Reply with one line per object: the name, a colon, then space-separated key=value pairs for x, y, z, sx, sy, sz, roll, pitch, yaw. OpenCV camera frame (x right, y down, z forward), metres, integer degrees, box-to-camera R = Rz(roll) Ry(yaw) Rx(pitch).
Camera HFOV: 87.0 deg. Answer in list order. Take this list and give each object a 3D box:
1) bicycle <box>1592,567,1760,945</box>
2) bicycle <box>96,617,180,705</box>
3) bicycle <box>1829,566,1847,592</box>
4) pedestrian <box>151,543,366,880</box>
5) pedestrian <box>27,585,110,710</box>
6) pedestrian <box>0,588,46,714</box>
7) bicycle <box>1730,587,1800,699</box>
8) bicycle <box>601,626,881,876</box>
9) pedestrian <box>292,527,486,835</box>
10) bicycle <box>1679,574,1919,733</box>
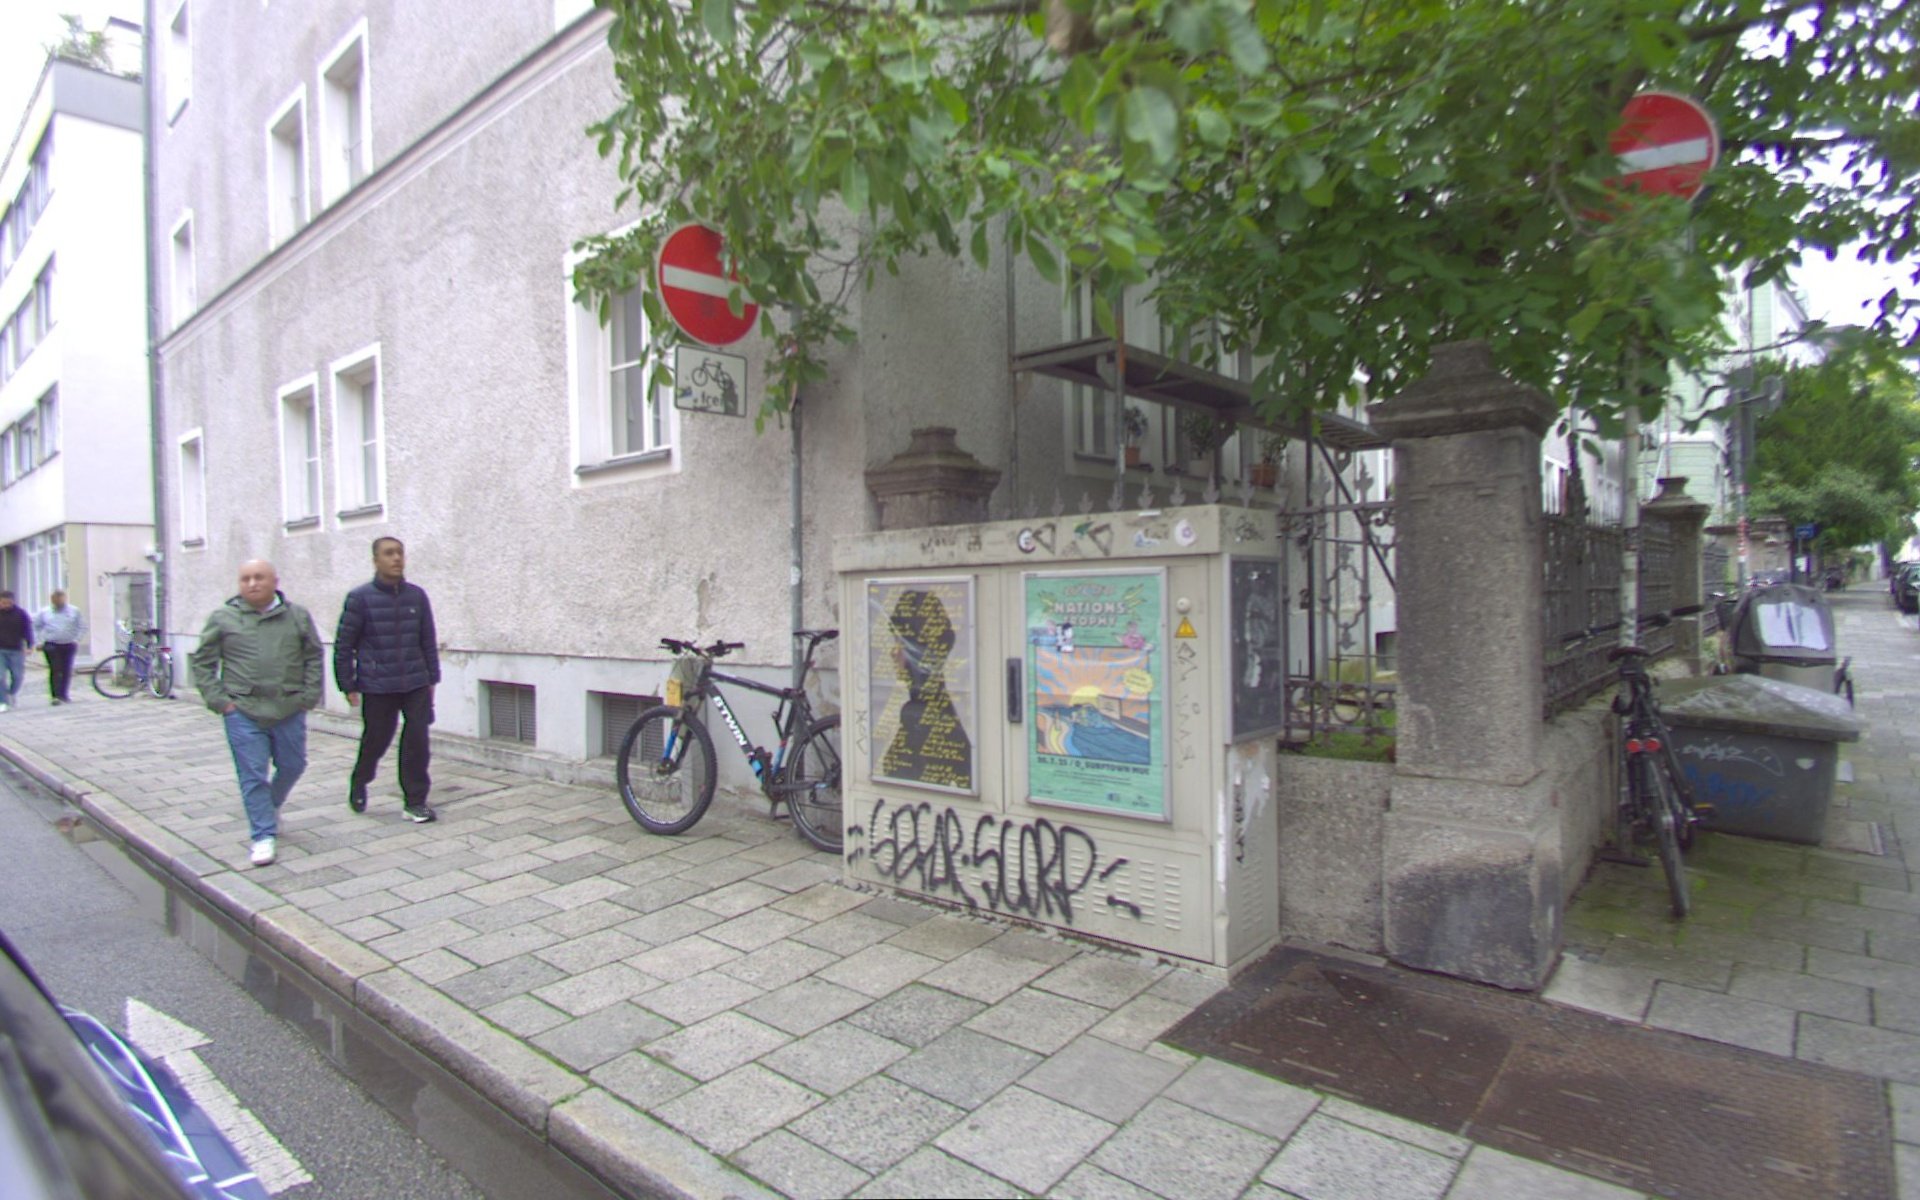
bicycle: x=3.040 y=0.510 z=4.233 sx=0.431 sy=1.270 sz=1.789 roll=-1 pitch=0 yaw=39
bicycle: x=-11.925 y=0.866 z=14.668 sx=1.494 sy=1.203 sz=0.445 roll=-1 pitch=1 yaw=32
bicycle: x=42.628 y=-1.032 z=49.116 sx=0.578 sy=1.191 sz=2.487 roll=-1 pitch=1 yaw=42
pedestrian: x=-3.897 y=0.555 z=5.626 sx=0.858 sy=1.690 sz=0.683 roll=-1 pitch=3 yaw=39
pedestrian: x=-13.293 y=0.687 z=15.084 sx=0.841 sy=1.740 sz=0.686 roll=-1 pitch=4 yaw=41
pedestrian: x=-13.737 y=0.727 z=14.514 sx=0.841 sy=1.740 sz=0.713 roll=-1 pitch=4 yaw=41
bicycle: x=8.673 y=0.420 z=10.881 sx=0.412 sy=1.112 sz=1.828 roll=-1 pitch=0 yaw=44
bicycle: x=-1.195 y=0.704 z=5.288 sx=1.701 sy=1.103 sz=0.426 roll=-1 pitch=2 yaw=39
pedestrian: x=-3.537 y=0.459 z=6.295 sx=0.739 sy=1.776 sz=0.685 roll=-1 pitch=2 yaw=31
bicycle: x=7.090 y=0.389 z=8.744 sx=0.987 sy=1.165 sz=2.466 roll=-1 pitch=0 yaw=25
